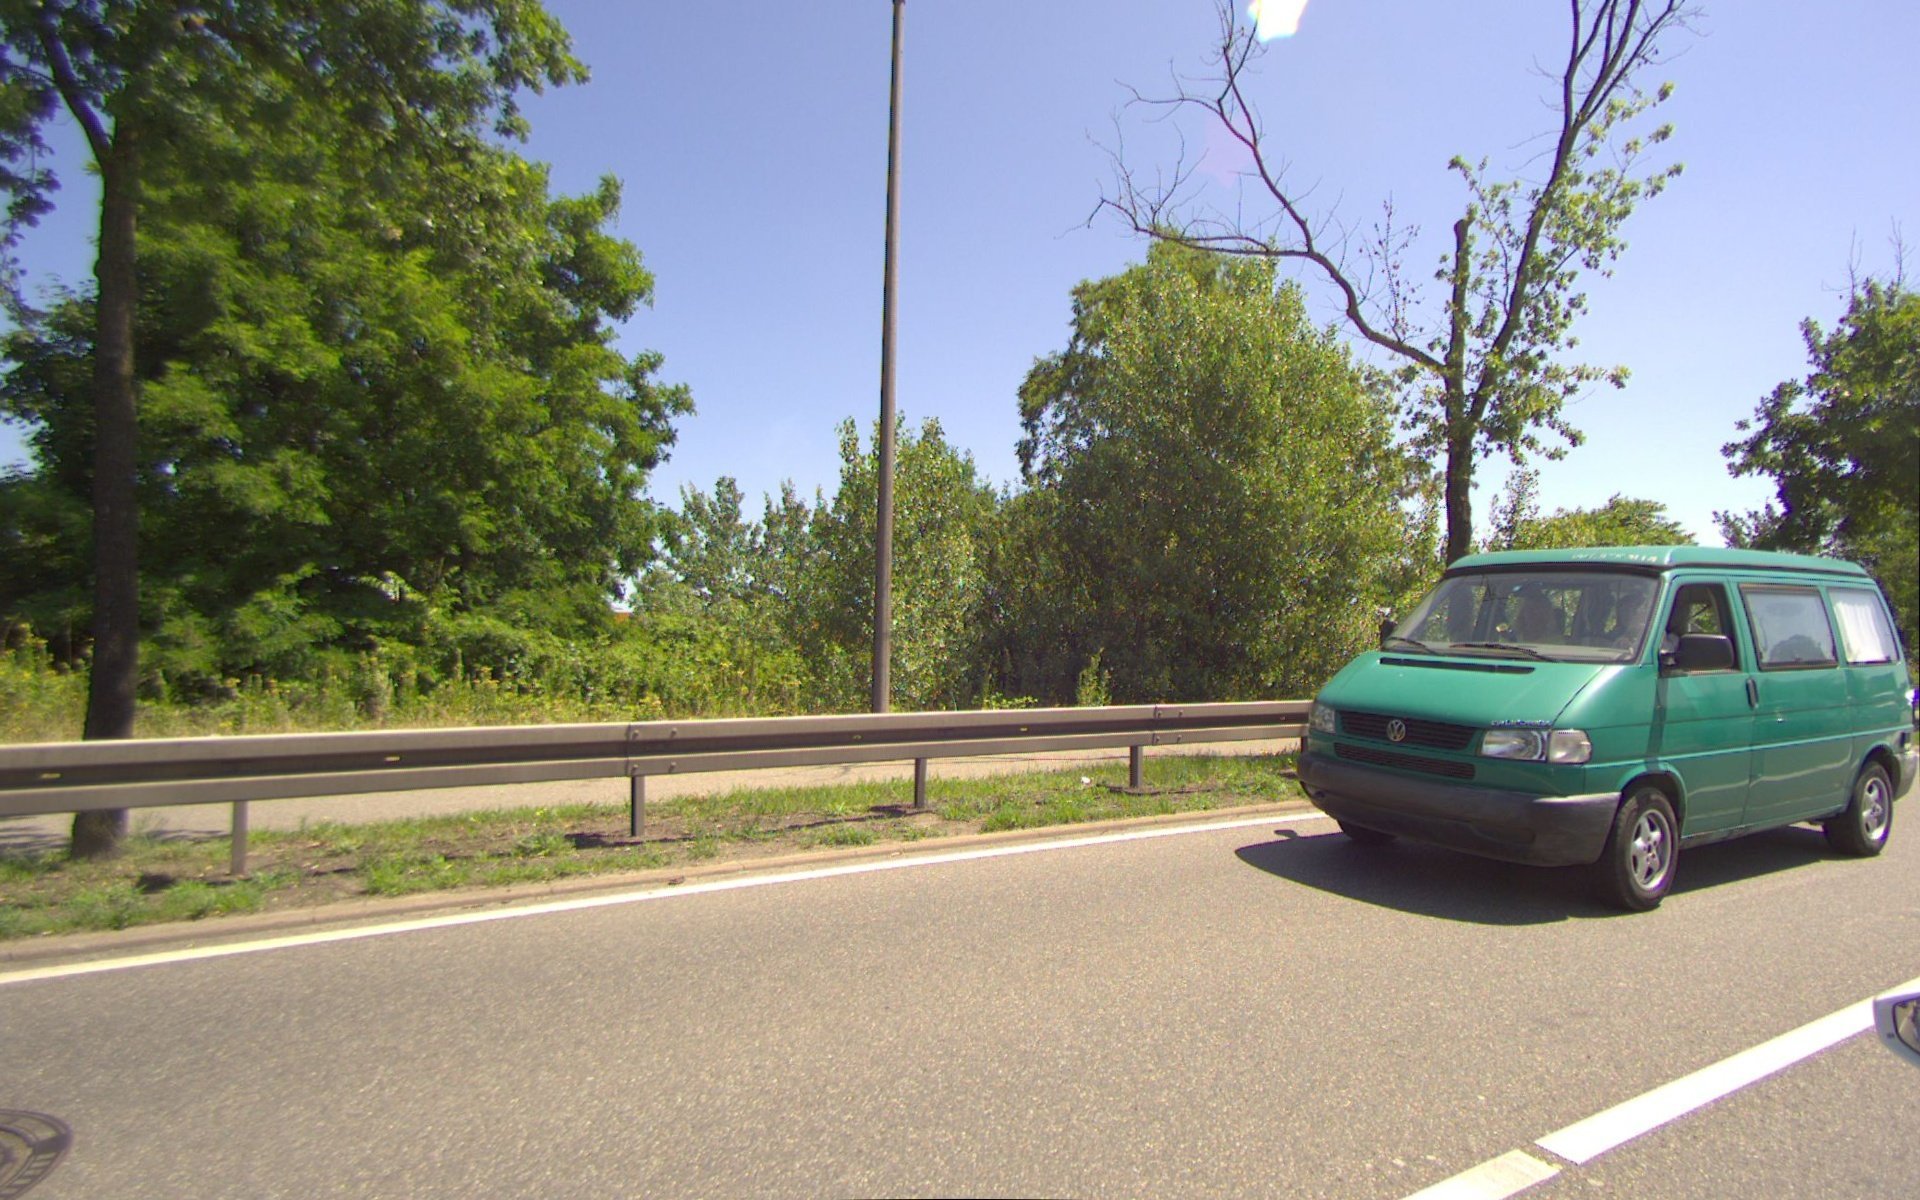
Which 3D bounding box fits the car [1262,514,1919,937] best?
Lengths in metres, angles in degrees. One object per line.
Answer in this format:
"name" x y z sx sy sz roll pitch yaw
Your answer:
"car" 4.369 0.650 6.664 4.720 1.964 1.821 2 -1 -30
